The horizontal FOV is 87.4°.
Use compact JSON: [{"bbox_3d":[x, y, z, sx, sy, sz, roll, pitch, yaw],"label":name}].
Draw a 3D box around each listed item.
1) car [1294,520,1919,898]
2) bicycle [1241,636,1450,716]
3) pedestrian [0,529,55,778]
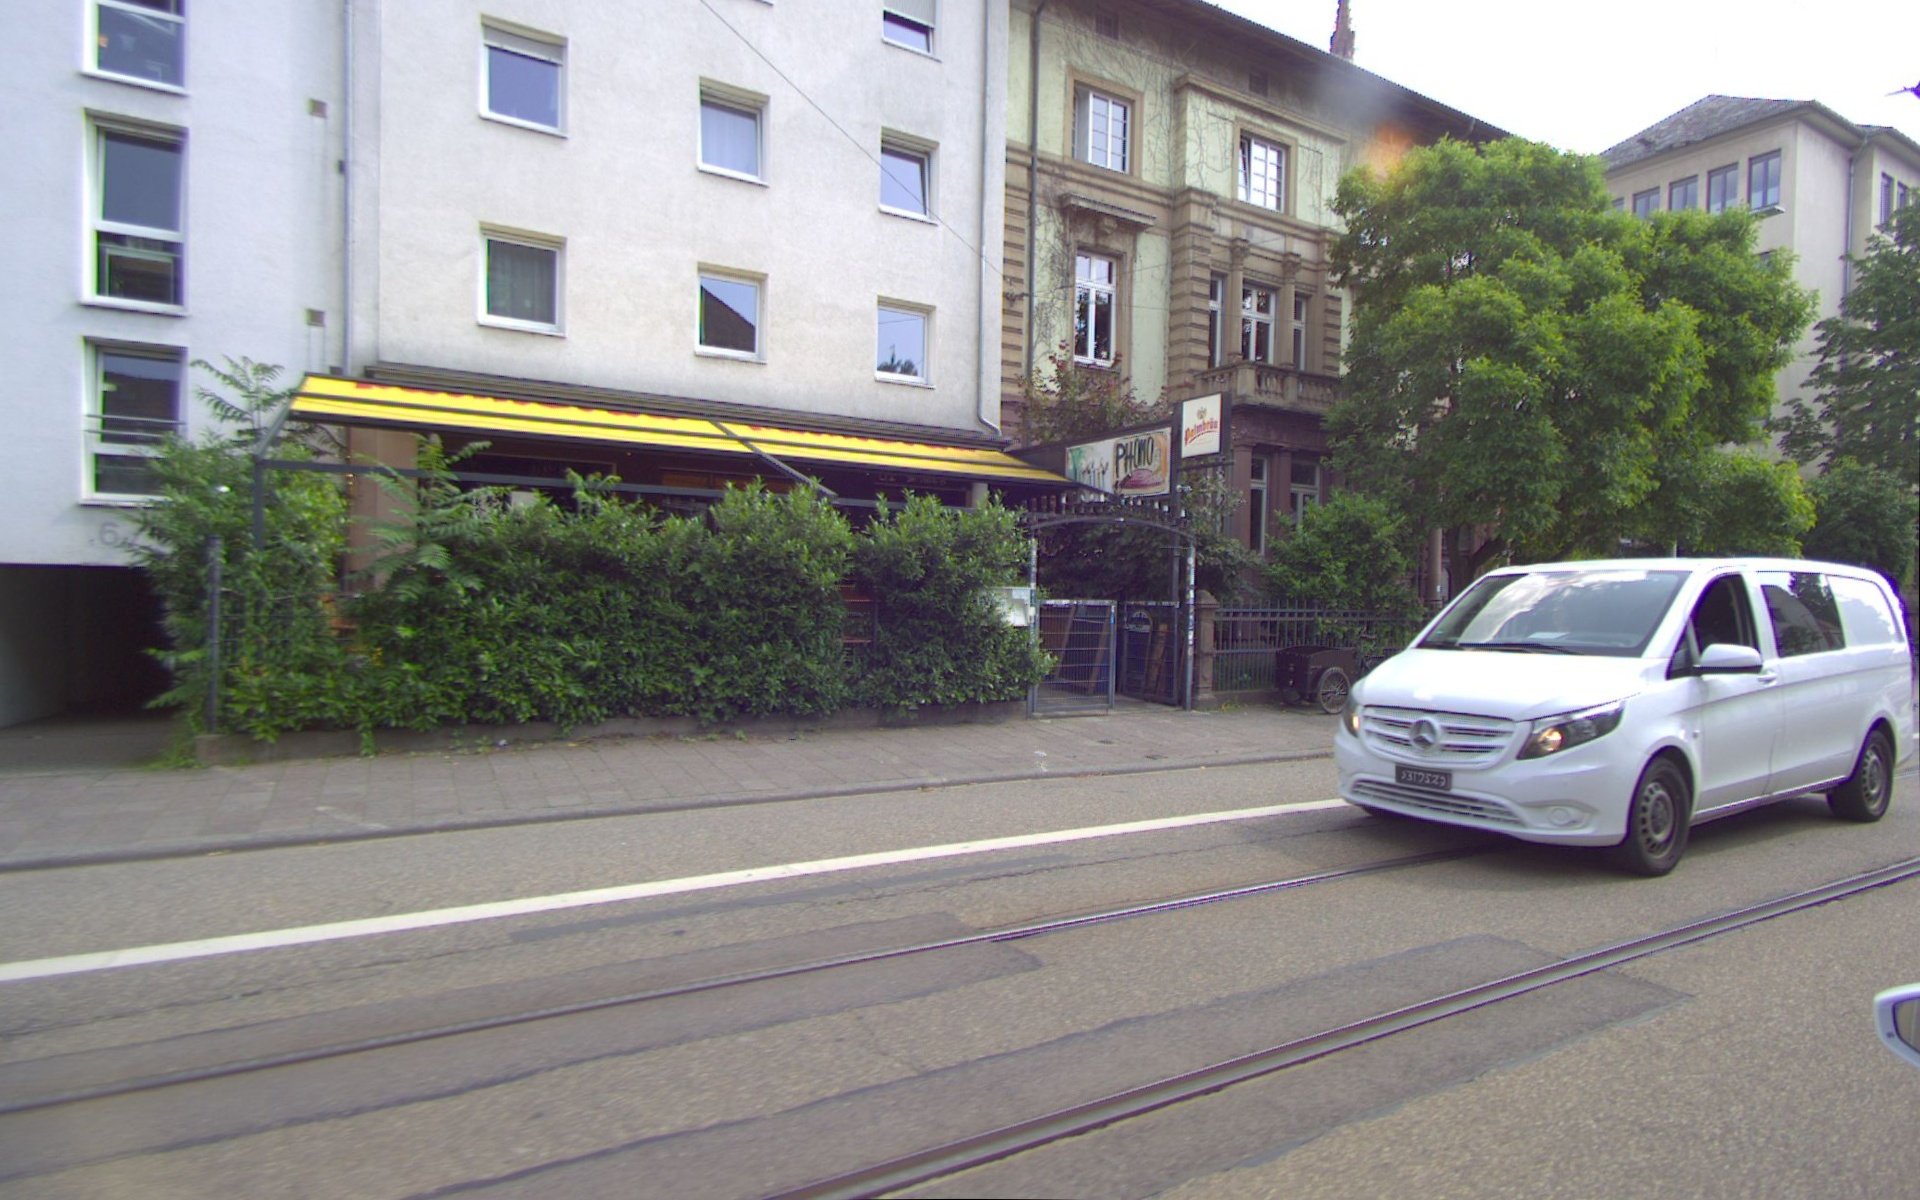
[{"bbox_3d":[5.013,0.586,7.353,5.323,1.933,1.887,1,1,-32],"label":"car"},{"bbox_3d":[5.497,1.033,14.272,2.953,0.921,1.137,1,4,-30],"label":"bicycle"},{"bbox_3d":[-8.030,0.402,7.996,1.050,1.943,0.823,1,1,-30],"label":"pedestrian"}]
